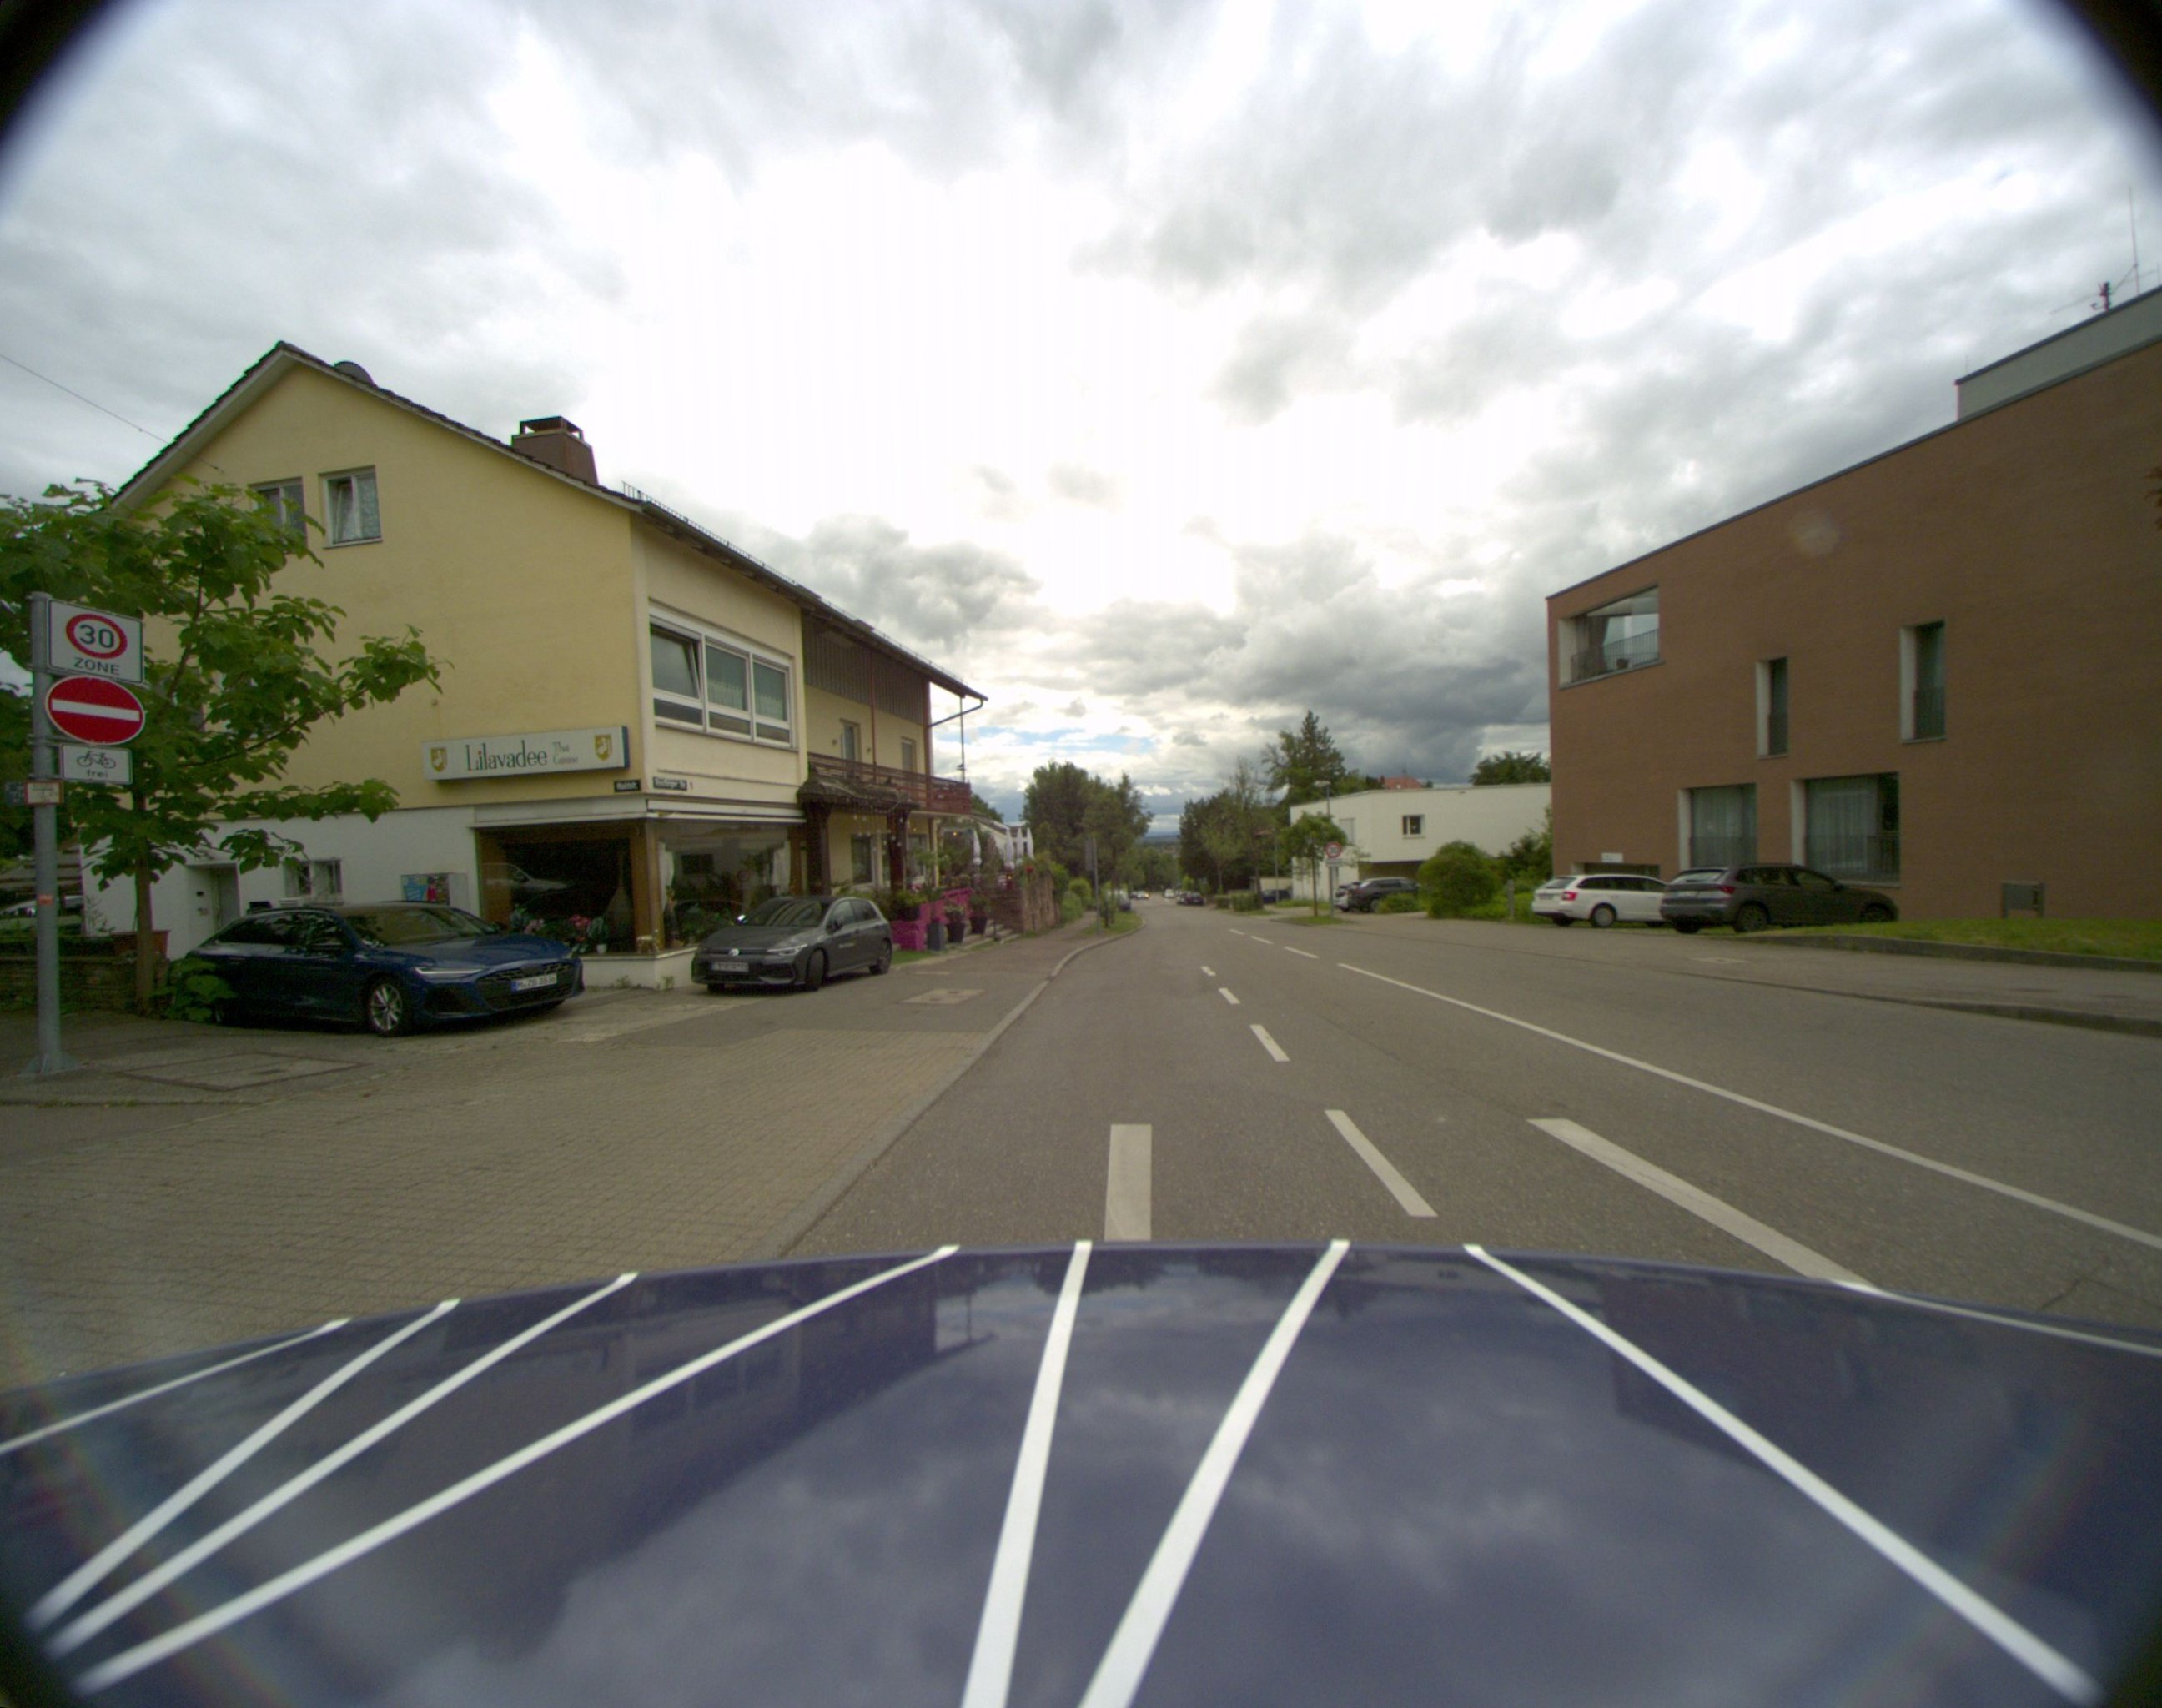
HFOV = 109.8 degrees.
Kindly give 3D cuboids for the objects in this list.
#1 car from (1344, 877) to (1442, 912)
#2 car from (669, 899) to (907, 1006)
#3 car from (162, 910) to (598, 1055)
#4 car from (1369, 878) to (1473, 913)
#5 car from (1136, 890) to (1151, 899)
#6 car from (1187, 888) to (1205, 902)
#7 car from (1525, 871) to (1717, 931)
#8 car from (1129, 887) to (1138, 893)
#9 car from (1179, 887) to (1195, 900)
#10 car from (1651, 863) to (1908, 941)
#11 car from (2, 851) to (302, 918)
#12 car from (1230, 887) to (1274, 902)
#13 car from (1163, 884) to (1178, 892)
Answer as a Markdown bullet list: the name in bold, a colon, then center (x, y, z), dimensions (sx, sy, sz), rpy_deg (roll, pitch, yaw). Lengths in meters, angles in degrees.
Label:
- **car**: center (15.060, 1.964, 36.871), dimensions (3.996, 1.585, 1.795), rpy_deg (-2, -3, 3)
- **car**: center (-4.540, 1.490, 12.623), dimensions (1.796, 1.452, 4.332), rpy_deg (-1, -4, 8)
- **car**: center (-8.527, 1.427, 9.285), dimensions (4.739, 1.378, 1.802), rpy_deg (-2, -2, 18)
- **car**: center (15.605, 1.924, 35.031), dimensions (3.996, 1.476, 1.728), rpy_deg (-2, -3, 3)
- **car**: center (10.357, 6.765, 126.681), dimensions (1.884, 1.412, 4.368), rpy_deg (-1, -1, -2)
- **car**: center (12.187, 4.359, 80.572), dimensions (1.661, 1.412, 4.004), rpy_deg (-2, -3, 6)
- **car**: center (14.619, 1.271, 20.707), dimensions (3.998, 1.476, 1.727), rpy_deg (-1, -3, -3)
- **car**: center (12.547, 8.707, 183.116), dimensions (1.883, 1.412, 4.369), rpy_deg (-1, -1, 1)
- **car**: center (12.504, 4.621, 89.570), dimensions (1.661, 1.412, 4.372), rpy_deg (-2, -3, 6)
- **car**: center (14.915, 1.017, 16.376), dimensions (3.998, 1.476, 1.727), rpy_deg (-1, -3, -3)
- **car**: center (-22.747, 0.802, 18.879), dimensions (1.795, 1.452, 4.336), rpy_deg (-2, -4, 22)
- **car**: center (16.553, 3.939, 73.723), dimensions (3.995, 1.278, 1.665), rpy_deg (-2, -3, 7)
- **car**: center (16.215, 6.170, 137.966), dimensions (1.884, 1.412, 4.368), rpy_deg (-1, -1, -2)
